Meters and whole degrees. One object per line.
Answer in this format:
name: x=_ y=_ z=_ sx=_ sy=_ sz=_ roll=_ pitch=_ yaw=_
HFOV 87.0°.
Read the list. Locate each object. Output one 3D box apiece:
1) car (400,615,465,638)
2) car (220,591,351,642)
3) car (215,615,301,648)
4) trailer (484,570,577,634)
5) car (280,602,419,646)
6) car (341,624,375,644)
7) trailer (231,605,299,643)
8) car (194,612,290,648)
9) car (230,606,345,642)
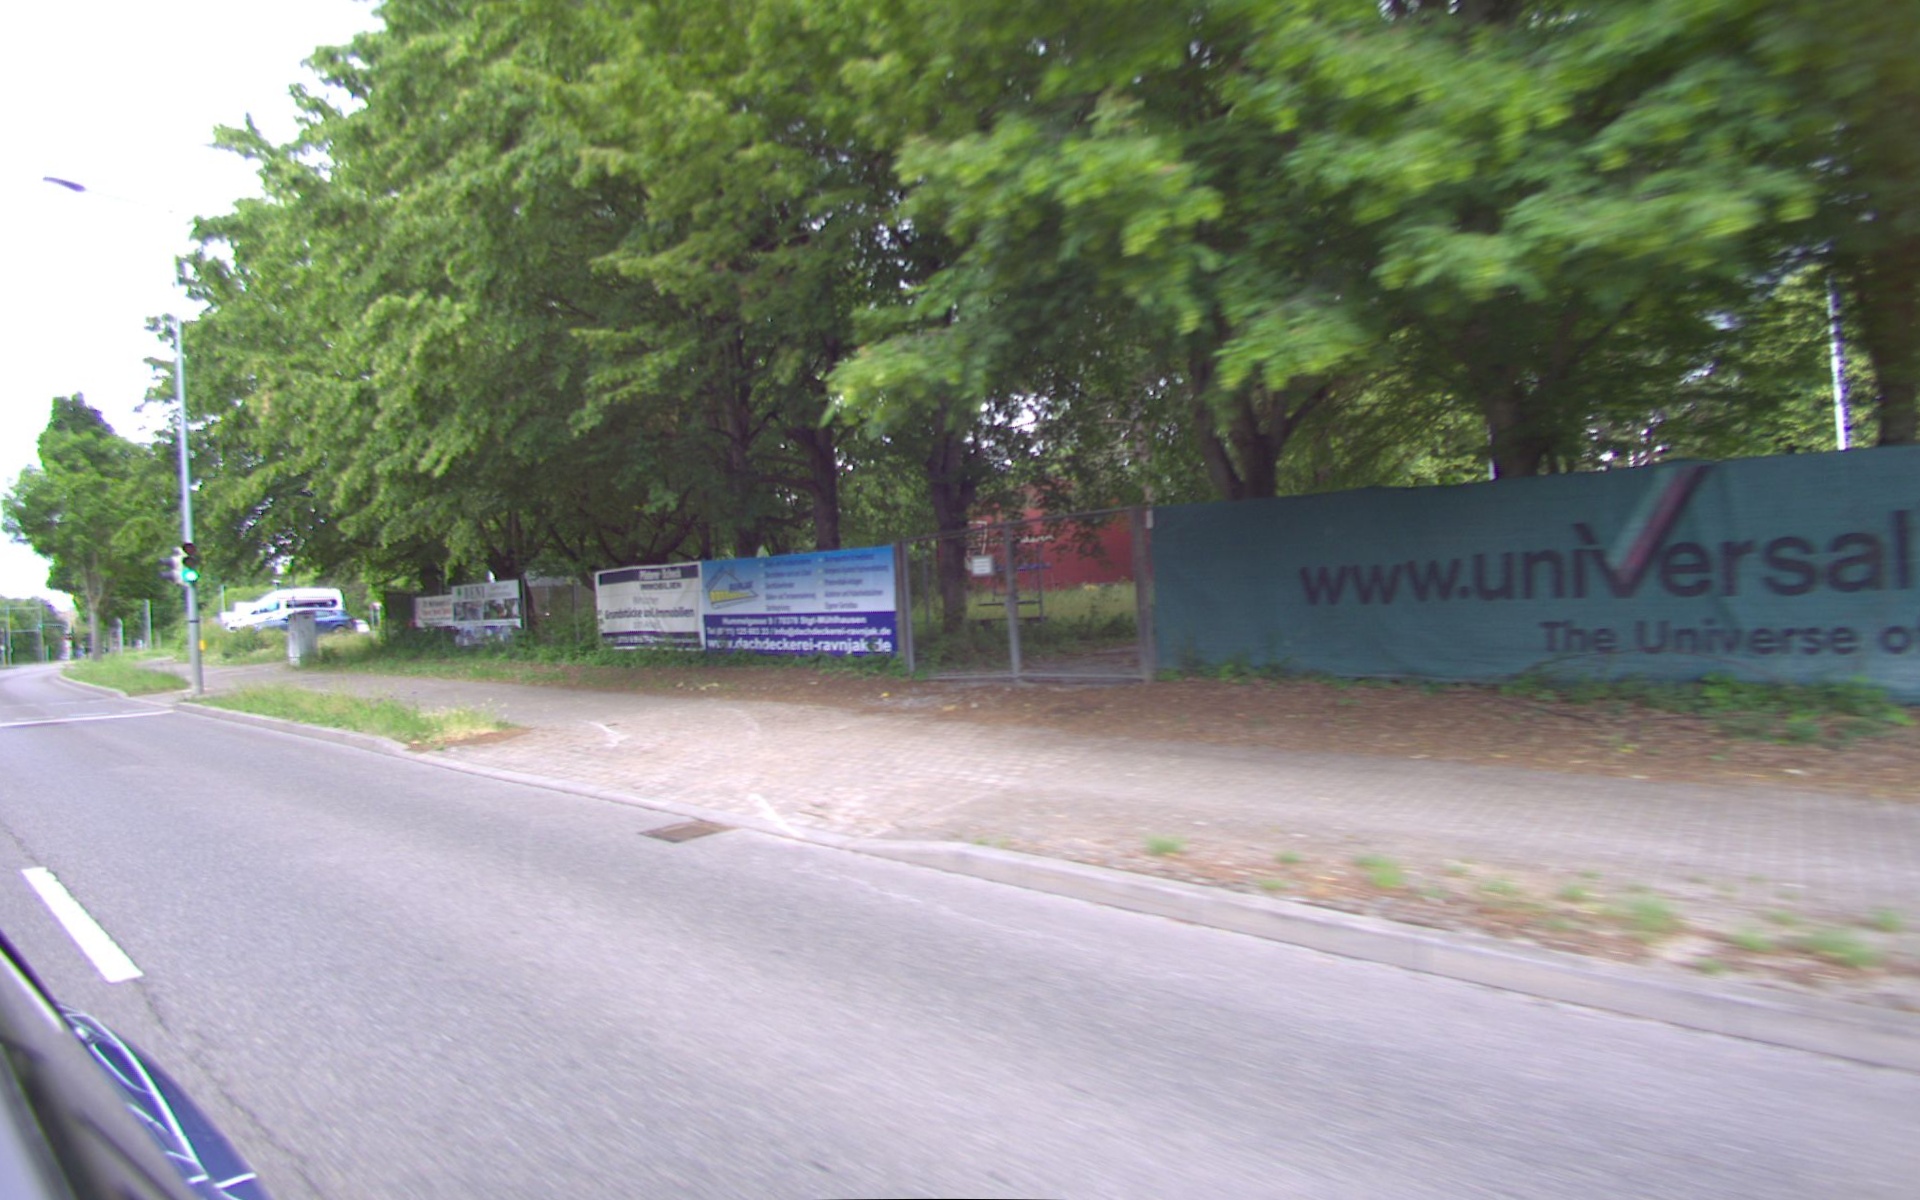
car: x=-39.684 y=1.974 z=76.144 sx=4.046 sy=1.428 sz=1.906 roll=-4 pitch=-1 yaw=-35
car: x=-33.148 y=0.791 z=49.833 sx=5.092 sy=2.122 sz=2.218 roll=-4 pitch=-1 yaw=-40
car: x=-40.950 y=1.811 z=59.092 sx=3.981 sy=1.596 sz=2.005 roll=-4 pitch=-1 yaw=-35
trailer: x=-23.015 y=0.146 z=54.033 sx=2.615 sy=3.097 sz=7.209 roll=-4 pitch=1 yaw=-38
car: x=-27.423 y=1.049 z=45.578 sx=5.092 sy=1.573 sz=1.889 roll=-4 pitch=-1 yaw=-40
car: x=-47.952 y=2.713 z=80.555 sx=1.967 sy=1.428 sz=4.057 roll=-4 pitch=-1 yaw=-36
trailer: x=-42.102 y=1.459 z=61.342 sx=3.321 sy=2.073 sz=1.682 roll=-2 pitch=-1 yaw=-35
car: x=-37.724 y=1.571 z=53.278 sx=3.981 sy=1.559 sz=2.005 roll=-4 pitch=-1 yaw=-35
car: x=-31.368 y=1.102 z=47.266 sx=4.323 sy=1.326 sz=1.565 roll=-4 pitch=-1 yaw=-40
